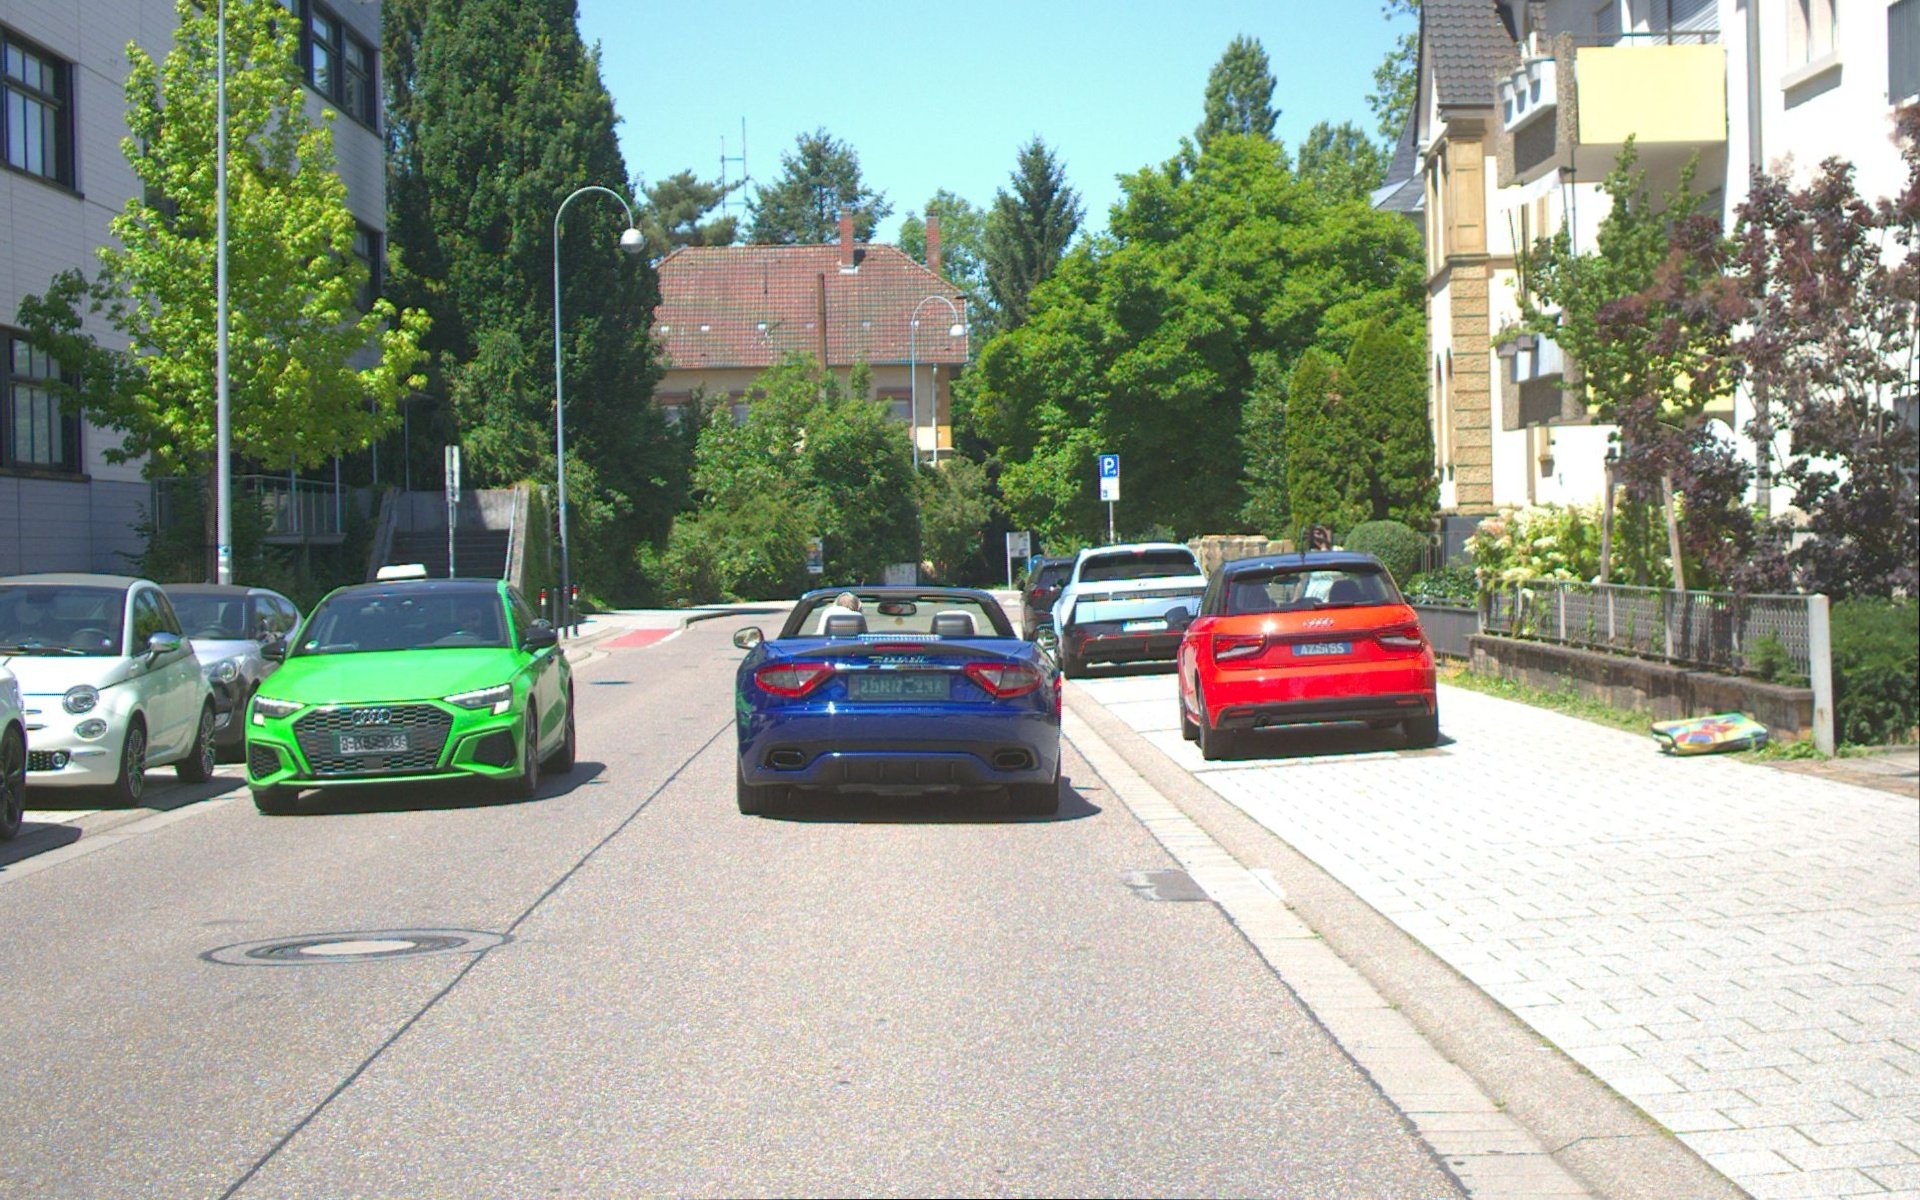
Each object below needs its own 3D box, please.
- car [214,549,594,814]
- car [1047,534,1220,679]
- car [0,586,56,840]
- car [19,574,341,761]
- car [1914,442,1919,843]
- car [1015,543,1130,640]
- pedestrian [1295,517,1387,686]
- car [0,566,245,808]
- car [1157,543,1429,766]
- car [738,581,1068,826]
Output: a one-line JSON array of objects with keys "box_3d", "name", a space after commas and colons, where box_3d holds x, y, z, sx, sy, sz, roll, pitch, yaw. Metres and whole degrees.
[{"box_3d": [-3.636, 0.475, 23.179, 1.822, 1.583, 4.100, -2, 1, 1], "name": "car"}, {"box_3d": [2.098, 0.043, 42.678, 1.843, 1.614, 4.427, -3, 1, 0], "name": "car"}, {"box_3d": [-6.271, 0.645, 18.154, 1.822, 1.406, 4.577, 0, 1, -1], "name": "car"}, {"box_3d": [-6.420, 0.511, 28.693, 1.748, 1.404, 3.933, -1, 1, 1], "name": "car"}, {"box_3d": [2.685, 0.554, 4.221, 1.705, 1.660, 4.580, -1, 1, 0], "name": "car"}, {"box_3d": [1.831, -0.173, 57.066, 1.631, 1.441, 4.398, -4, 1, -1], "name": "car"}, {"box_3d": [3.886, 0.007, 35.134, 0.740, 1.664, 0.706, -4, 1, -2], "name": "pedestrian"}, {"box_3d": [-6.310, 0.536, 23.865, 1.822, 1.507, 4.290, -1, 1, -1], "name": "car"}, {"box_3d": [2.414, 0.348, 25.731, 1.603, 1.436, 3.853, -4, 1, 1], "name": "car"}, {"box_3d": [-0.345, 0.561, 21.383, 1.826, 1.332, 4.700, 0, 1, -1], "name": "car"}]
